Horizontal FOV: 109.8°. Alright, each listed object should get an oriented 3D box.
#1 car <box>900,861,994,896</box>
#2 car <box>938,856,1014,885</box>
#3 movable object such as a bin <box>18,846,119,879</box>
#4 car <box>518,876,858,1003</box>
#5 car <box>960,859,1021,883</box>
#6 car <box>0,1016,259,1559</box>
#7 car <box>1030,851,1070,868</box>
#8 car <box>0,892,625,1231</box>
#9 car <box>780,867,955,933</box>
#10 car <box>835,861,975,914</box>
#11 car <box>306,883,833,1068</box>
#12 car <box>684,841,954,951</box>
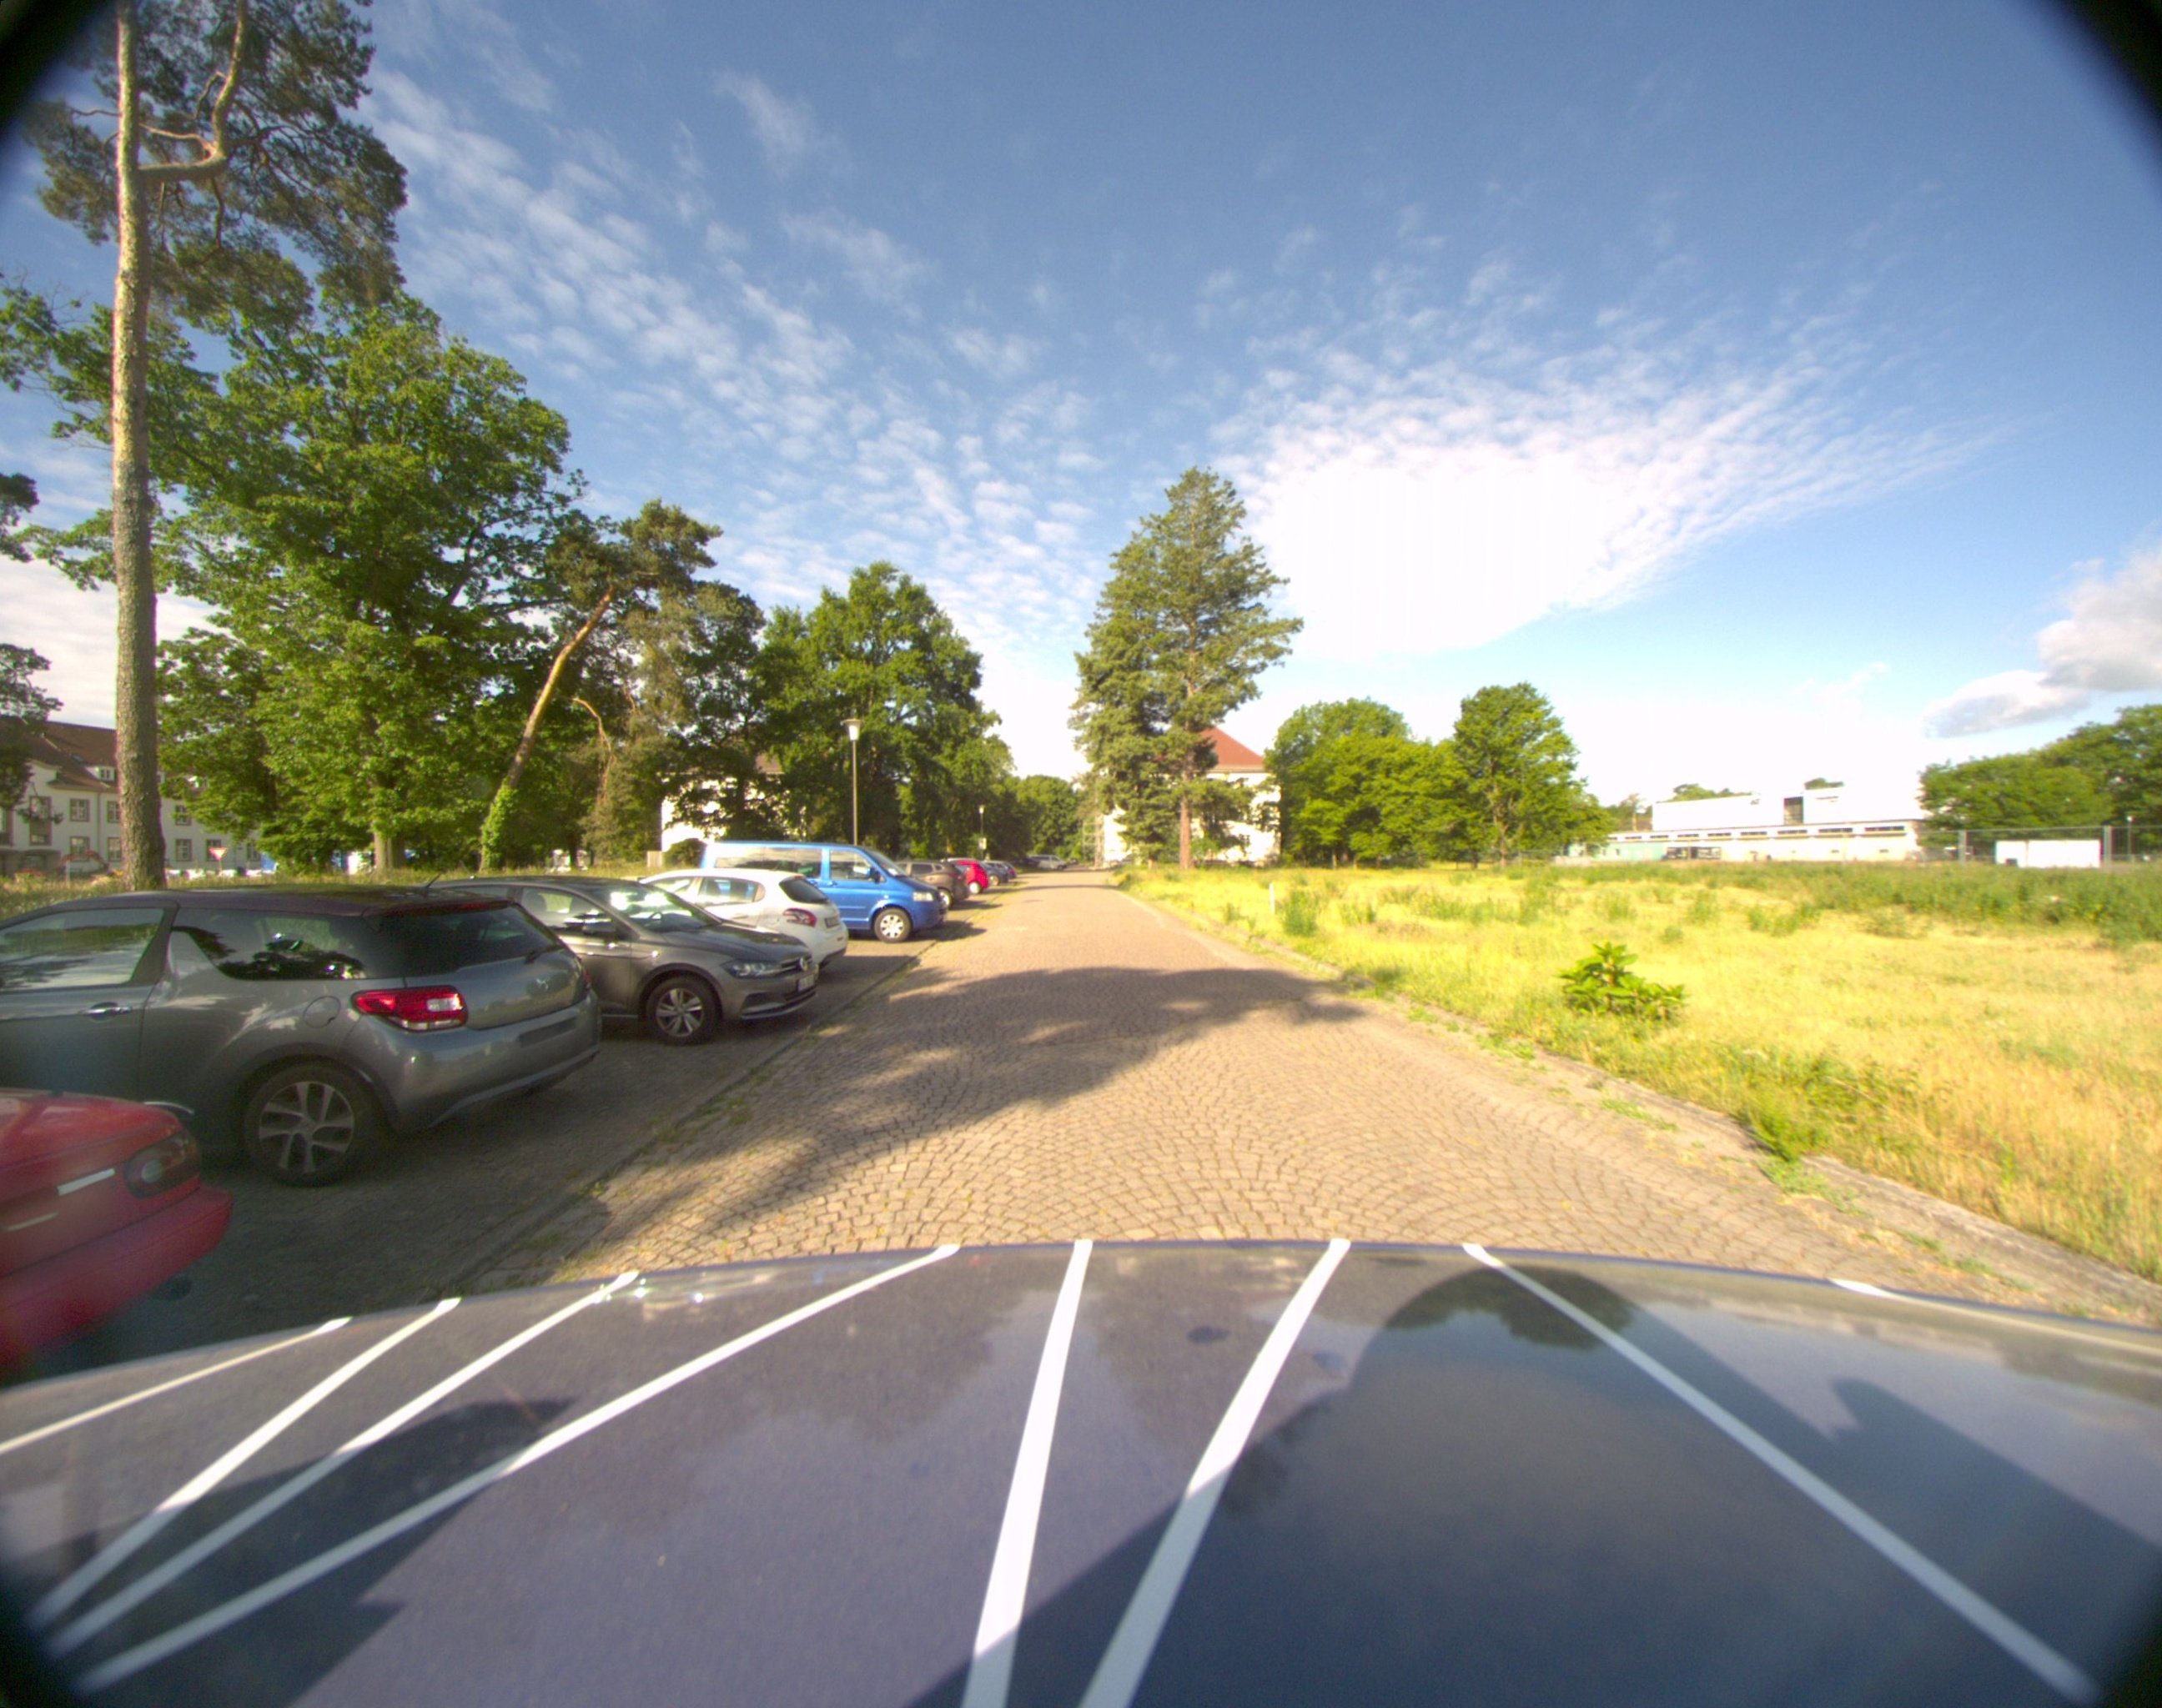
[{"bbox_3d":[-6.034,1.093,34.566,3.998,1.486,1.540,-1,0,-2],"label":"car"},{"bbox_3d":[-6.169,0.962,44.854,4.274,1.589,1.651,-1,0,-2],"label":"car"},{"bbox_3d":[-92.274,0.757,69.355,2.178,2.884,5.074,0,0,5],"label":"movable object such as a bin"},{"bbox_3d":[-5.052,1.067,10.145,3.654,1.483,1.634,0,0,-2],"label":"car"},{"bbox_3d":[-5.890,1.112,49.671,3.810,1.458,1.747,-1,0,-1],"label":"car"},{"bbox_3d":[-4.452,1.177,1.697,3.470,1.235,1.536,-1,0,-2],"label":"car"},{"bbox_3d":[-4.050,0.736,98.687,4.995,2.123,2.164,-1,0,-4],"label":"car"},{"bbox_3d":[-4.965,1.017,4.342,3.673,1.446,1.666,1,0,-2],"label":"car"},{"bbox_3d":[-4.982,1.065,18.116,3.731,1.458,1.609,1,0,-4],"label":"car"},{"bbox_3d":[-5.535,1.031,24.341,4.119,1.601,1.785,0,0,-4],"label":"car"},{"bbox_3d":[-4.534,1.047,7.197,3.790,1.442,1.757,1,0,-1],"label":"car"},{"bbox_3d":[-5.150,0.808,15.480,4.767,2.002,2.000,1,0,-2],"label":"car"}]
